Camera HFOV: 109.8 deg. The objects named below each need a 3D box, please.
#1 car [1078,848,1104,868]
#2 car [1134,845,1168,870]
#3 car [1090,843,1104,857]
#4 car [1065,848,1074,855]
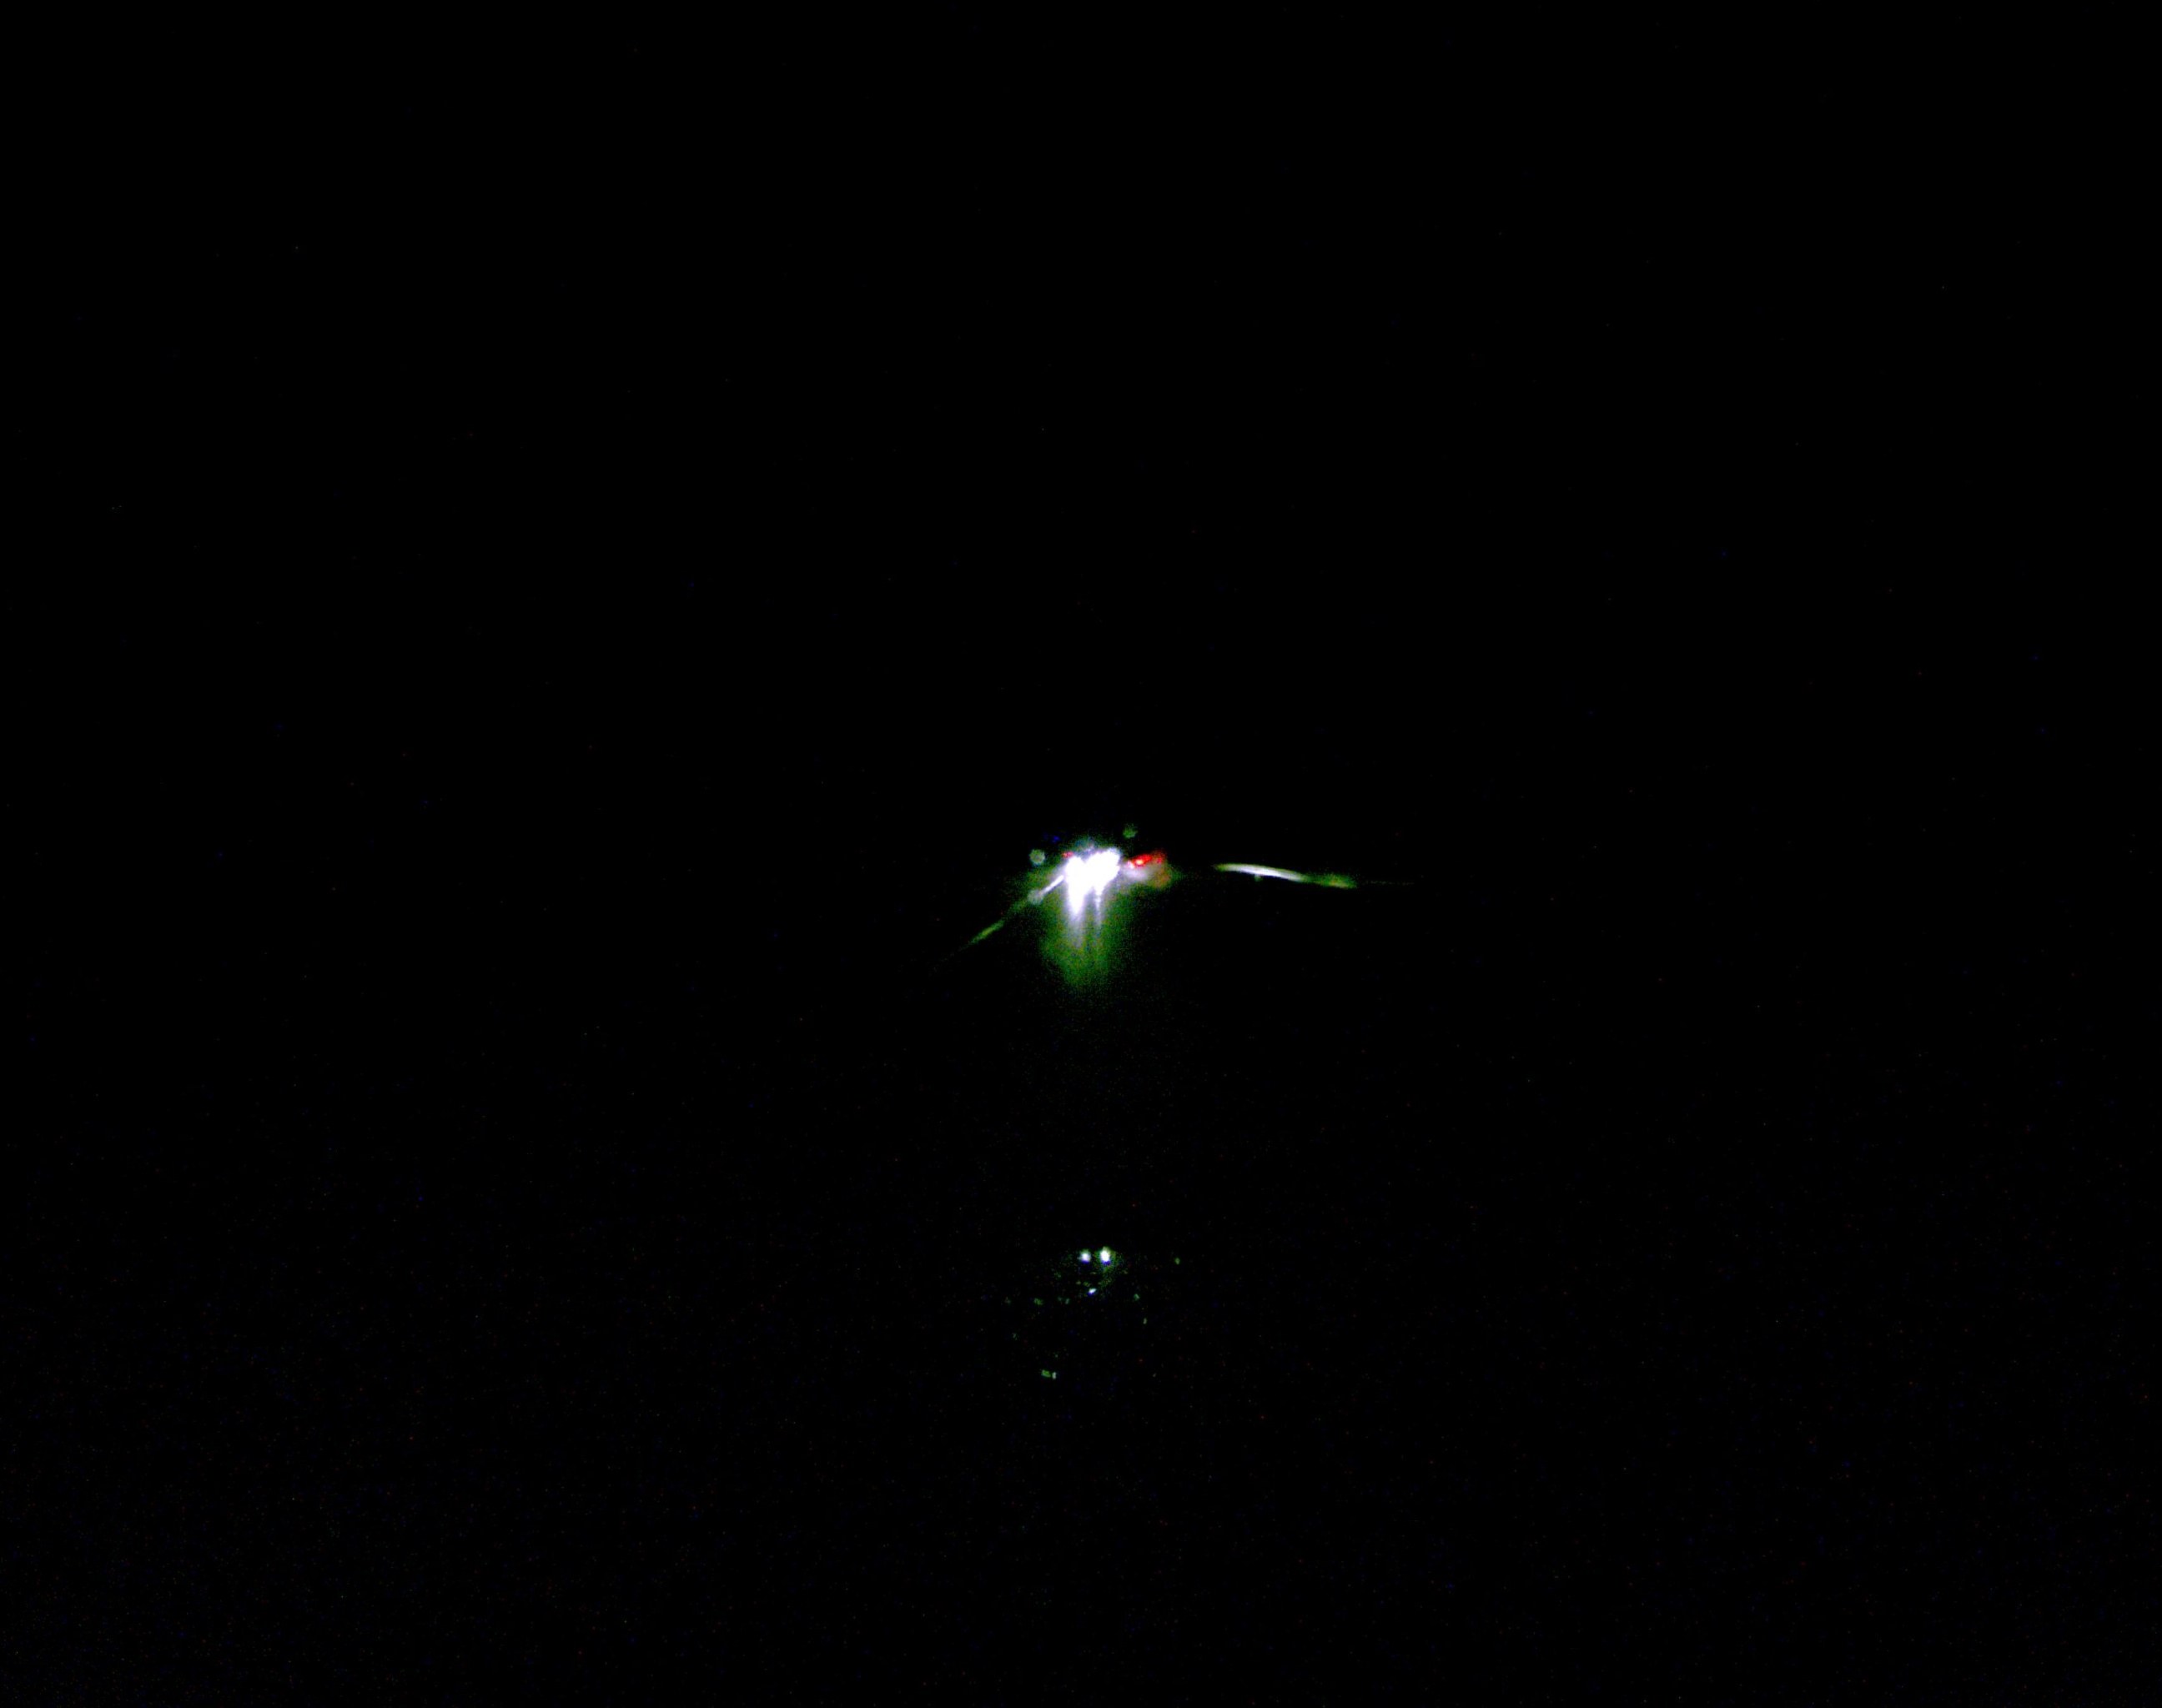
[{"bbox_3d":[0.787,0.306,61.227,1.776,1.444,4.134,-4,0,-2],"label":"car"},{"bbox_3d":[4.545,0.208,50.073,1.922,1.455,4.259,-3,0,2],"label":"car"},{"bbox_3d":[2.324,-0.536,112.315,1.859,1.929,3.999,-3,1,0],"label":"car"},{"bbox_3d":[-2.556,-0.479,168.867,1.999,1.382,3.845,-4,0,-2],"label":"car"}]
